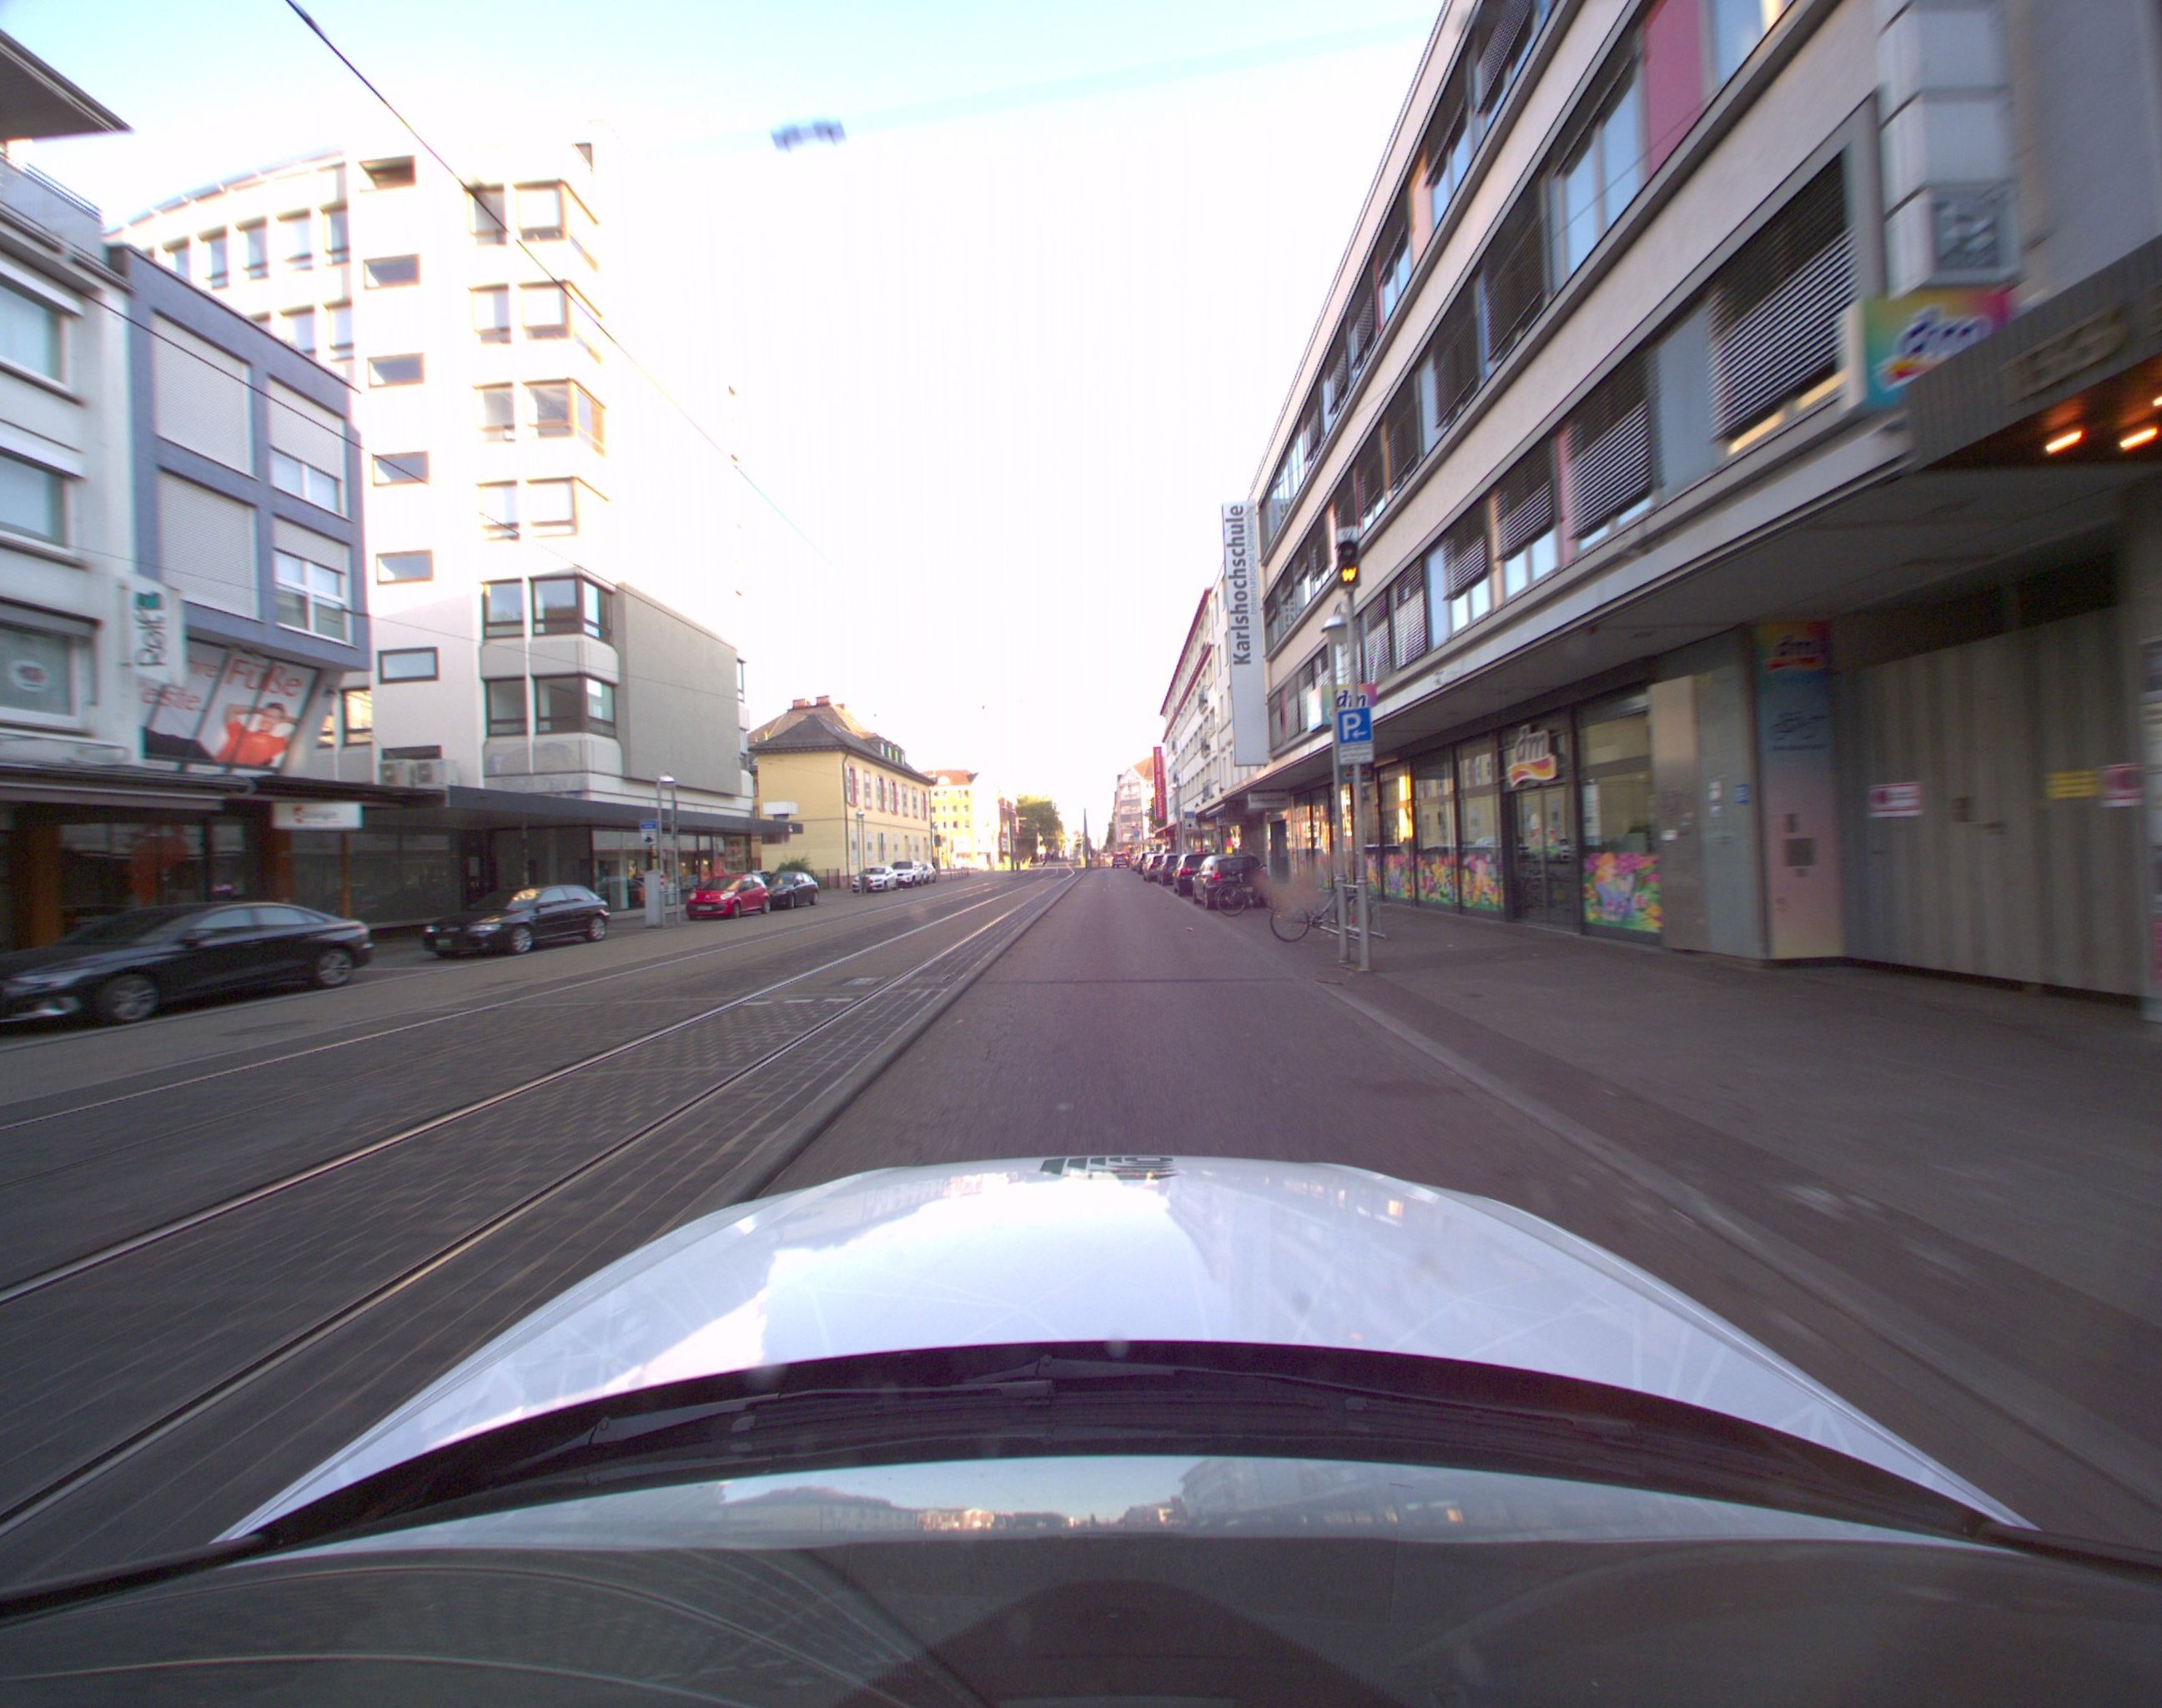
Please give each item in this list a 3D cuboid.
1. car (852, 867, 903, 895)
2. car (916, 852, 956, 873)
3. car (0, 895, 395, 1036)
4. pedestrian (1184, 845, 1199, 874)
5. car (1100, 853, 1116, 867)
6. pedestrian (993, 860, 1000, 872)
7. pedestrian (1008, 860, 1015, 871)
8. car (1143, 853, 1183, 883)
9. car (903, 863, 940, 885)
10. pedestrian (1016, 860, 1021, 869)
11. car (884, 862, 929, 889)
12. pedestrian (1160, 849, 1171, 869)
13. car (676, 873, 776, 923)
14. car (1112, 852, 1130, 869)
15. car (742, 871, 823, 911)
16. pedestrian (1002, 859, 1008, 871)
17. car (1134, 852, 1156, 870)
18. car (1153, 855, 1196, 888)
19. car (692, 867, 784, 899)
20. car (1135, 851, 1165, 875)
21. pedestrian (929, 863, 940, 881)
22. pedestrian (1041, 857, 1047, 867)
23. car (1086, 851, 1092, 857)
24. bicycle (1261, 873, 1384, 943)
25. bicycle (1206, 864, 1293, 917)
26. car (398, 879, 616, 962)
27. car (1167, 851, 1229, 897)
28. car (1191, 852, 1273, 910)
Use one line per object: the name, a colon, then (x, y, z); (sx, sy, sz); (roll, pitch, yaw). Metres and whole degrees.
car: (-11.660, 1.496, 46.917); (1.715, 1.453, 4.284); (-1, 0, 1)
car: (-15.588, 0.891, 87.358); (3.994, 2.013, 1.990); (-2, -1, -15)
car: (-12.691, 1.396, 11.602); (1.865, 1.427, 4.572); (-1, -1, 2)
pedestrian: (7.239, 0.347, 53.569); (0.772, 1.880, 0.934); (-3, -1, 0)
car: (3.797, 0.851, 114.877); (1.986, 1.596, 4.001); (-6, -2, 2)
pedestrian: (-10.326, 1.443, 99.597); (0.662, 1.375, 0.651); (-3, 0, -1)
pedestrian: (-8.560, 1.405, 100.145); (0.662, 1.375, 0.651); (-3, 0, -1)
car: (4.431, 0.731, 44.678); (1.785, 1.533, 4.857); (-1, -1, 1)
car: (-11.423, 1.405, 58.622); (1.742, 1.474, 4.001); (-1, 0, 1)
pedestrian: (-14.556, 2.437, 189.397); (1.090, 2.014, 1.162); (0, -1, -1)
car: (-11.251, 1.352, 52.828); (1.881, 1.661, 4.760); (-1, 0, 0)
pedestrian: (6.760, 0.389, 65.314); (0.730, 1.574, 0.967); (-2, 0, 1)
car: (-12.035, 1.452, 27.855); (1.685, 1.434, 3.593); (-2, 0, 1)
car: (4.351, 0.705, 88.227); (1.828, 1.636, 4.093); (-3, -2, 3)
car: (-11.930, 1.433, 32.780); (1.685, 1.425, 3.966); (0, 0, 2)
pedestrian: (-9.262, 1.372, 99.782); (0.662, 1.375, 0.651); (-2, 0, -1)
car: (5.238, 0.555, 66.938); (1.645, 1.421, 4.192); (-1, -1, 2)
car: (4.430, 0.798, 39.088); (1.719, 1.481, 4.001); (-1, -1, 2)
car: (-17.825, 1.493, 42.430); (3.975, 1.553, 1.913); (-1, -1, -1)
car: (5.010, 0.675, 59.623); (1.849, 1.701, 4.419); (-1, -1, 1)
pedestrian: (-13.243, 1.629, 73.609); (0.796, 1.542, 0.878); (-1, -1, 3)
pedestrian: (-5.509, 1.212, 121.541); (0.900, 1.375, 0.853); (-2, -1, -1)
car: (2.566, 0.033, 262.164); (1.985, 1.901, 4.002); (-1, -1, 2)
bicycle: (3.935, 0.874, 13.331); (1.790, 0.972, 0.575); (-4, 0, -2)
bicycle: (3.949, 0.839, 19.132); (1.834, 1.109, 0.642); (-4, -1, -2)
car: (-12.574, 1.377, 18.211); (1.783, 1.460, 4.093); (-3, 0, 2)
car: (4.171, 0.701, 29.559); (1.758, 1.513, 4.073); (-1, -1, 2)
car: (4.087, 0.699, 22.592); (1.648, 1.463, 4.024); (-1, -1, 2)
